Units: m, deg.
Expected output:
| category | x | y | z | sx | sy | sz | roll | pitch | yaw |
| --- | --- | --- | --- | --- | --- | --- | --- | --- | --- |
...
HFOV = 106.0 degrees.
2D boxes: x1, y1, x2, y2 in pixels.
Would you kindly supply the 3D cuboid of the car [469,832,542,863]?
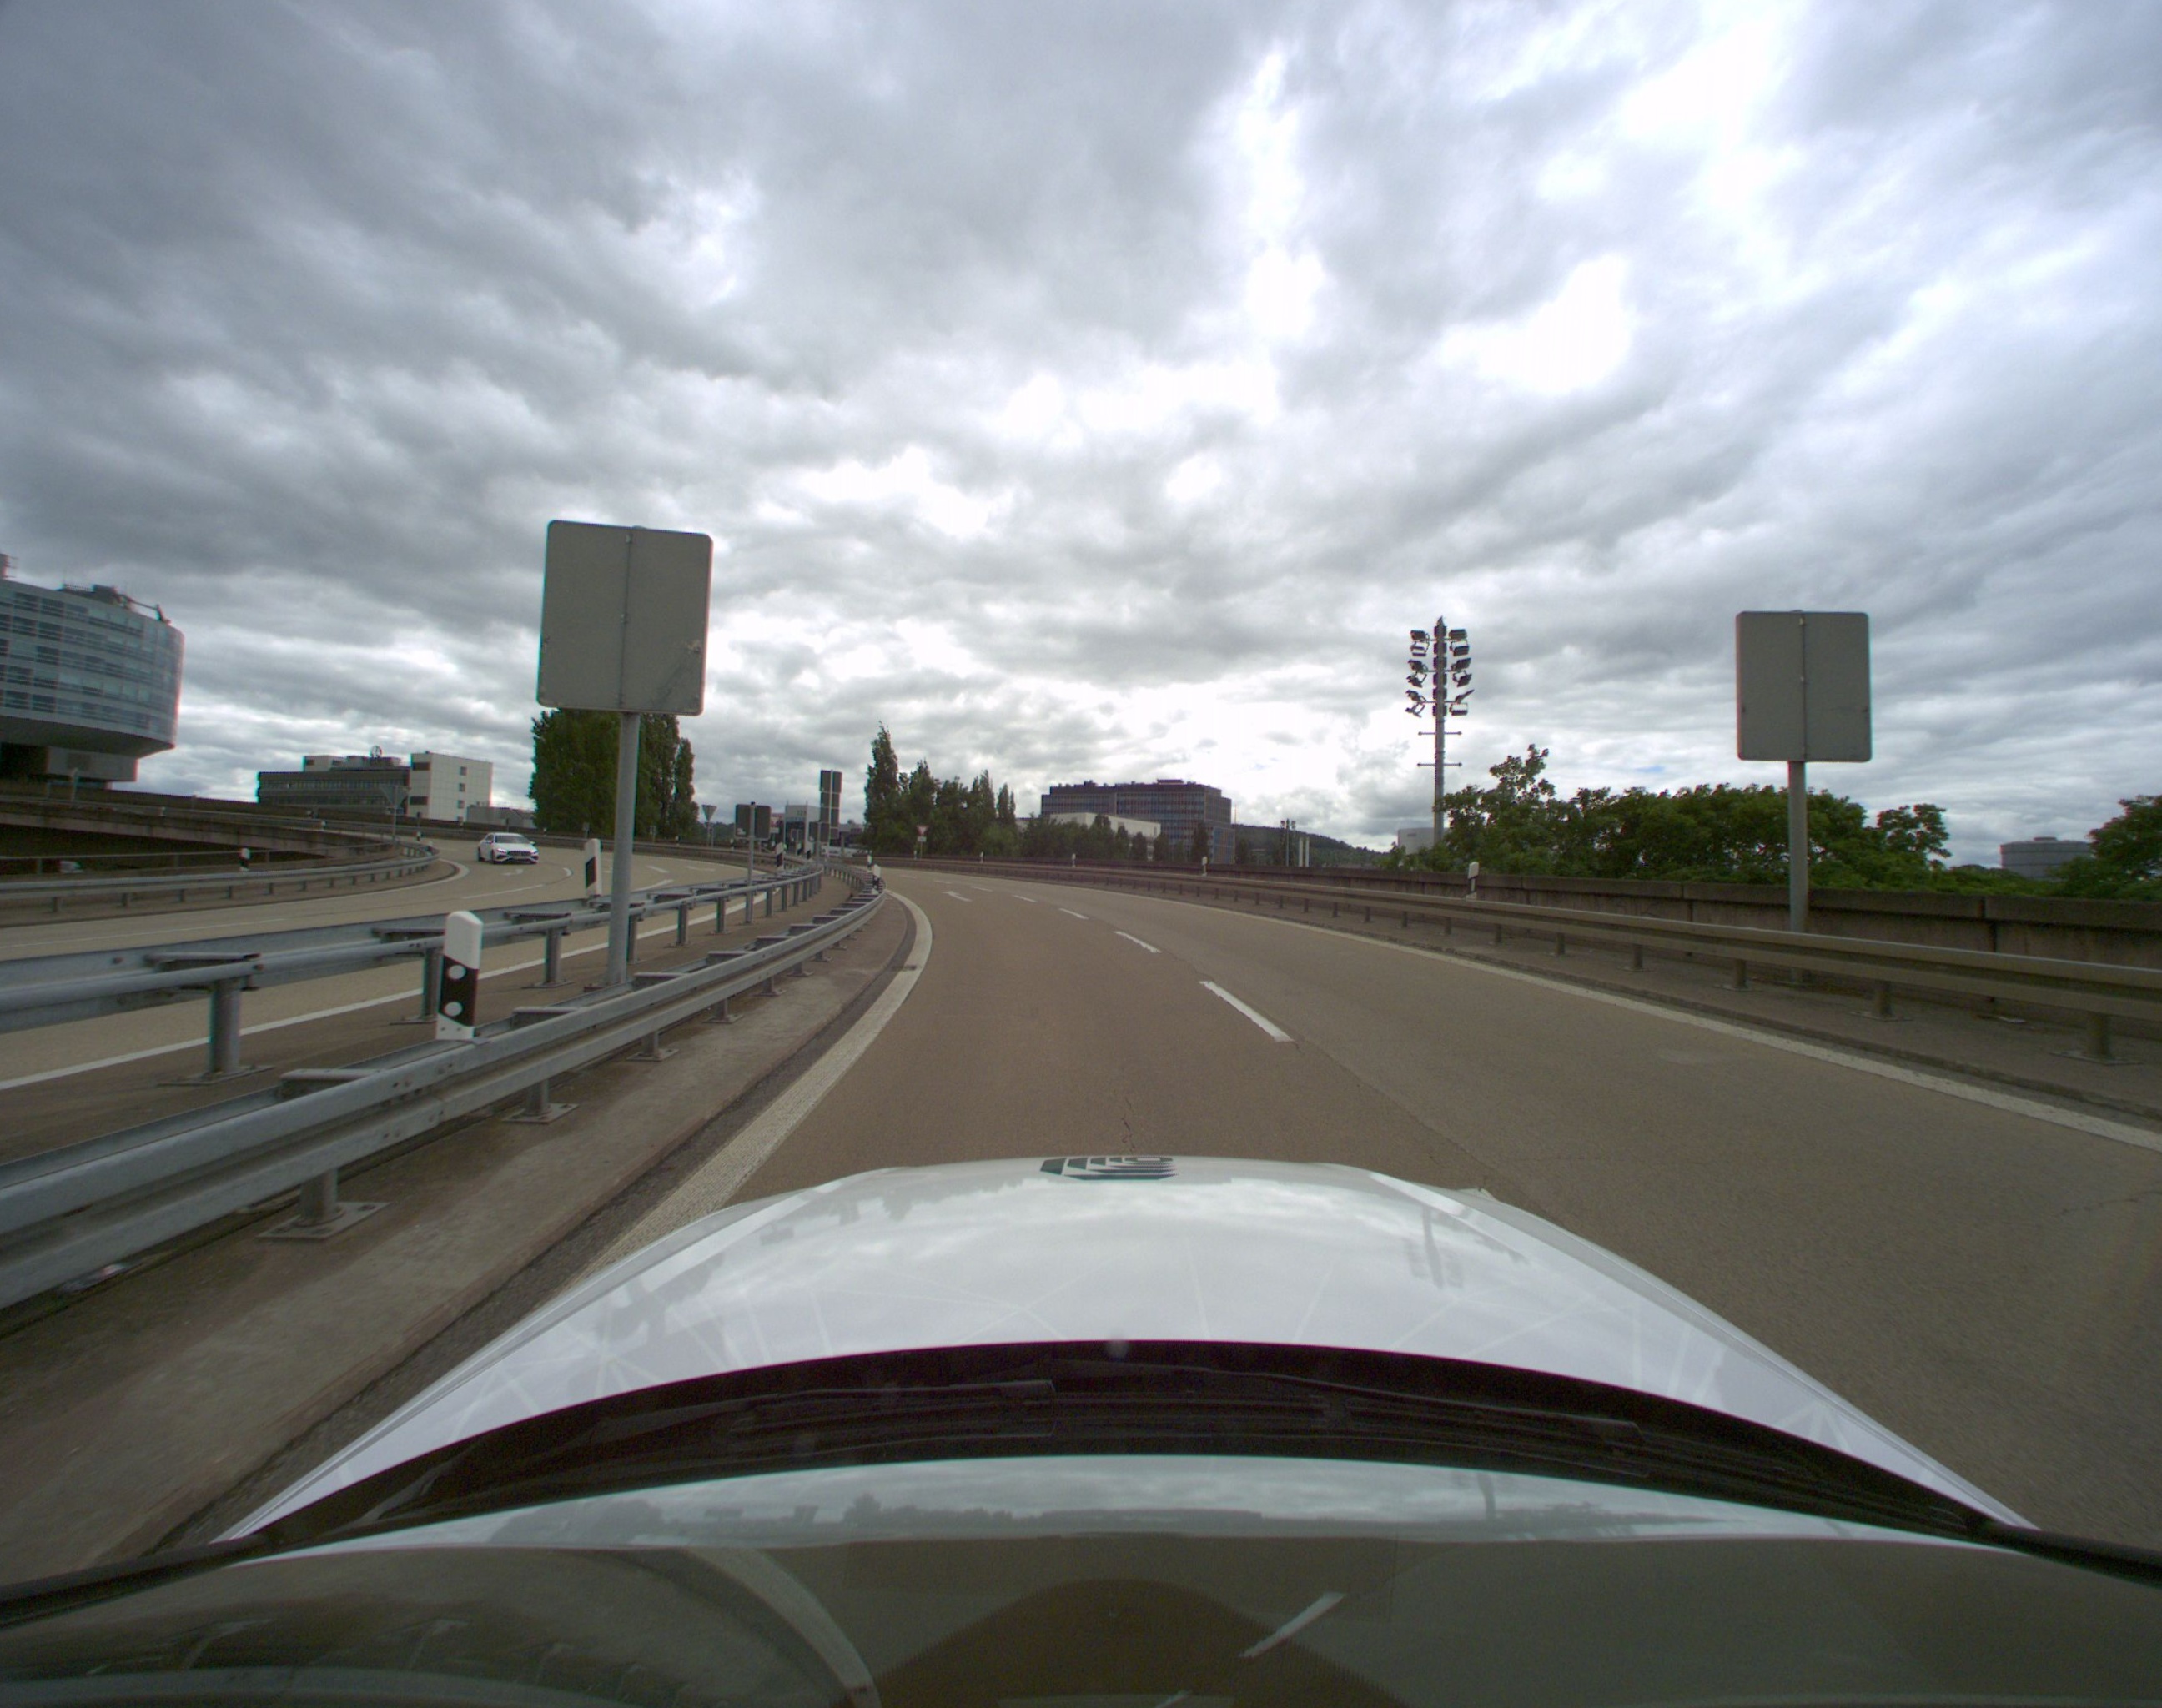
| category | x | y | z | sx | sy | sz | roll | pitch | yaw |
| --- | --- | --- | --- | --- | --- | --- | --- | --- | --- |
| car | -28.443 | -0.354 | 40.207 | 4.310 | 1.414 | 1.929 | 1 | 1 | 40 |
